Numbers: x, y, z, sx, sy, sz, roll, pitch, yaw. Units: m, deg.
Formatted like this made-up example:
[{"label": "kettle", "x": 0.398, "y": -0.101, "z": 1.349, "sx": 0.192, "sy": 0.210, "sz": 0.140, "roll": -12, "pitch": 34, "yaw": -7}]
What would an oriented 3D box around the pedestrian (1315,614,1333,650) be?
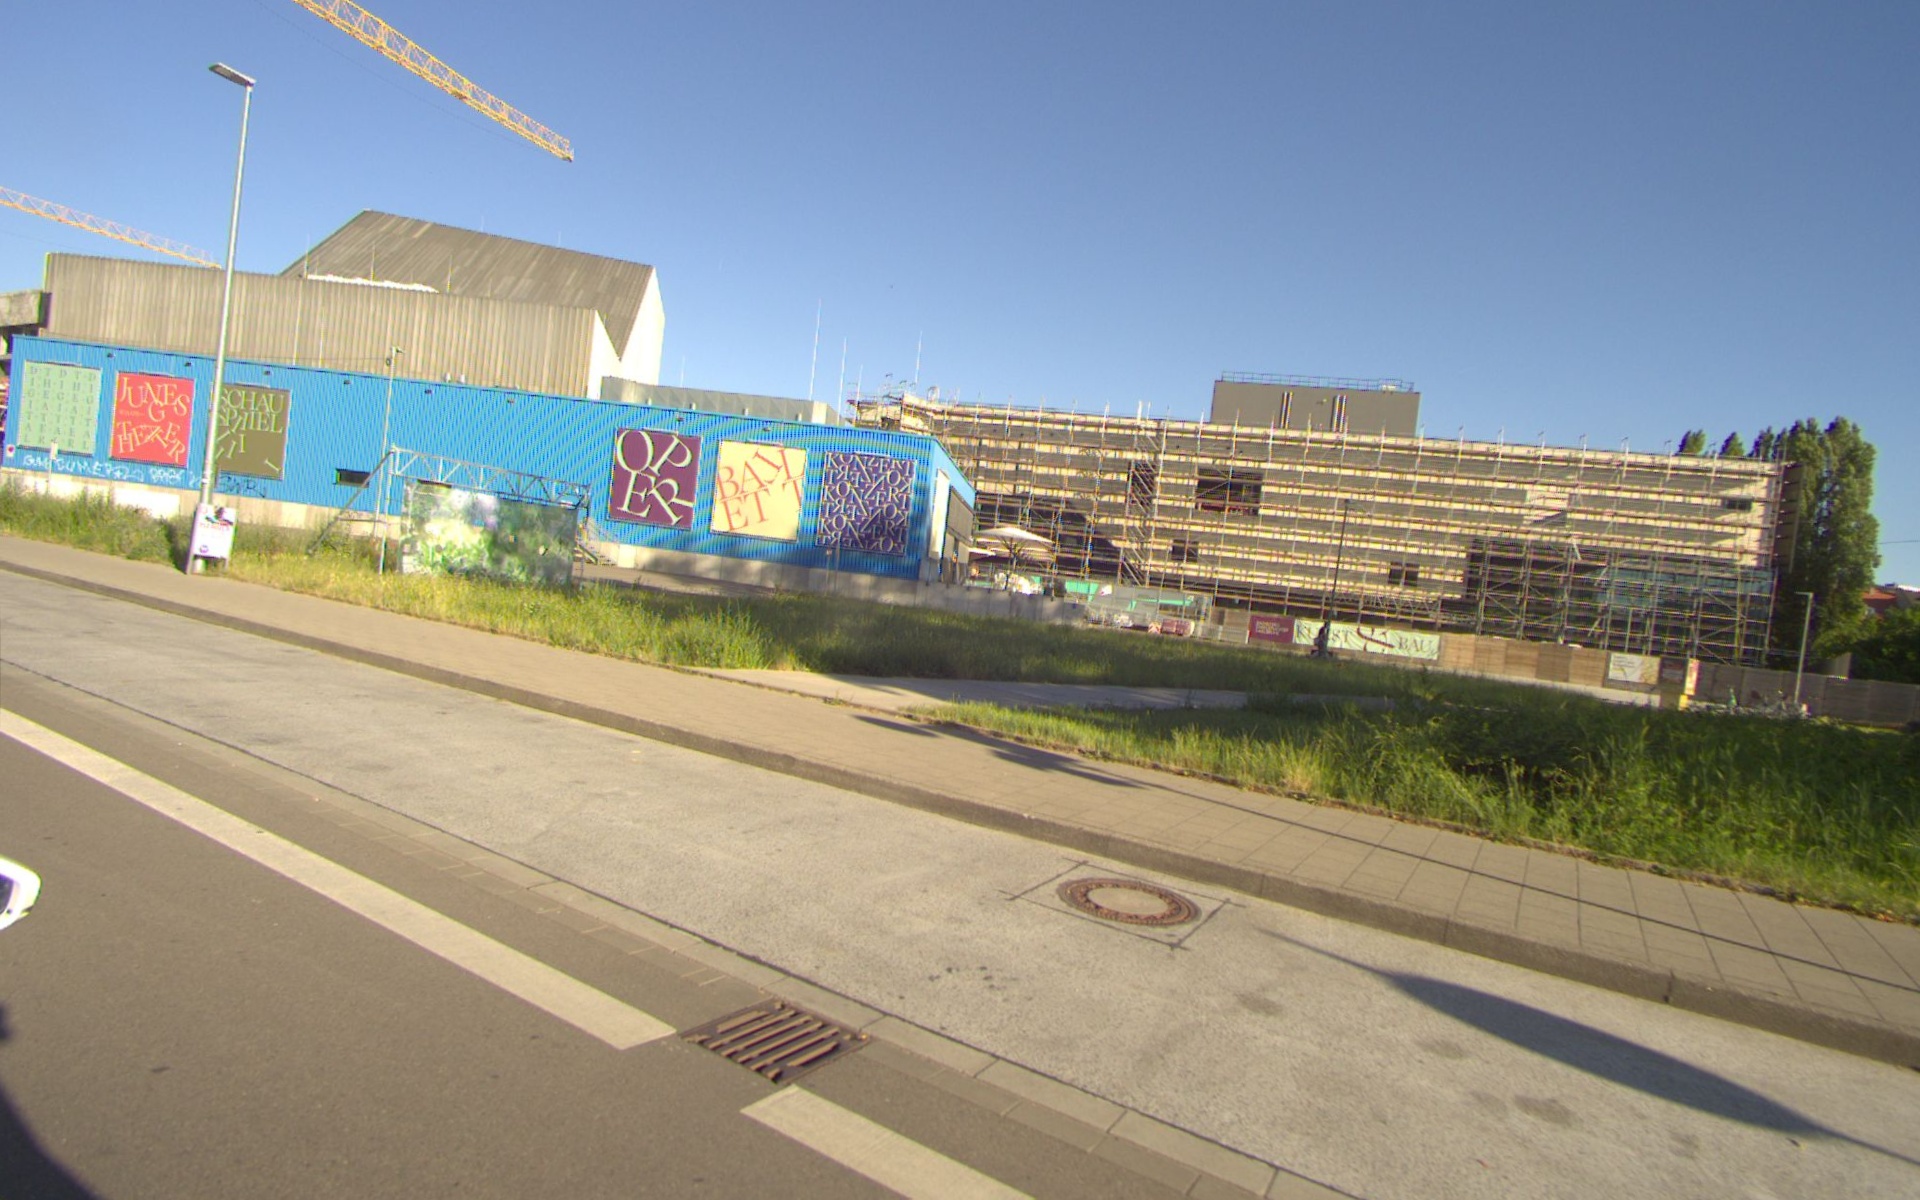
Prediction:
[{"label": "pedestrian", "x": 14.149, "y": 1.247, "z": 39.124, "sx": 0.433, "sy": 1.310, "sz": 0.574, "roll": 6, "pitch": -2, "yaw": 7}]
